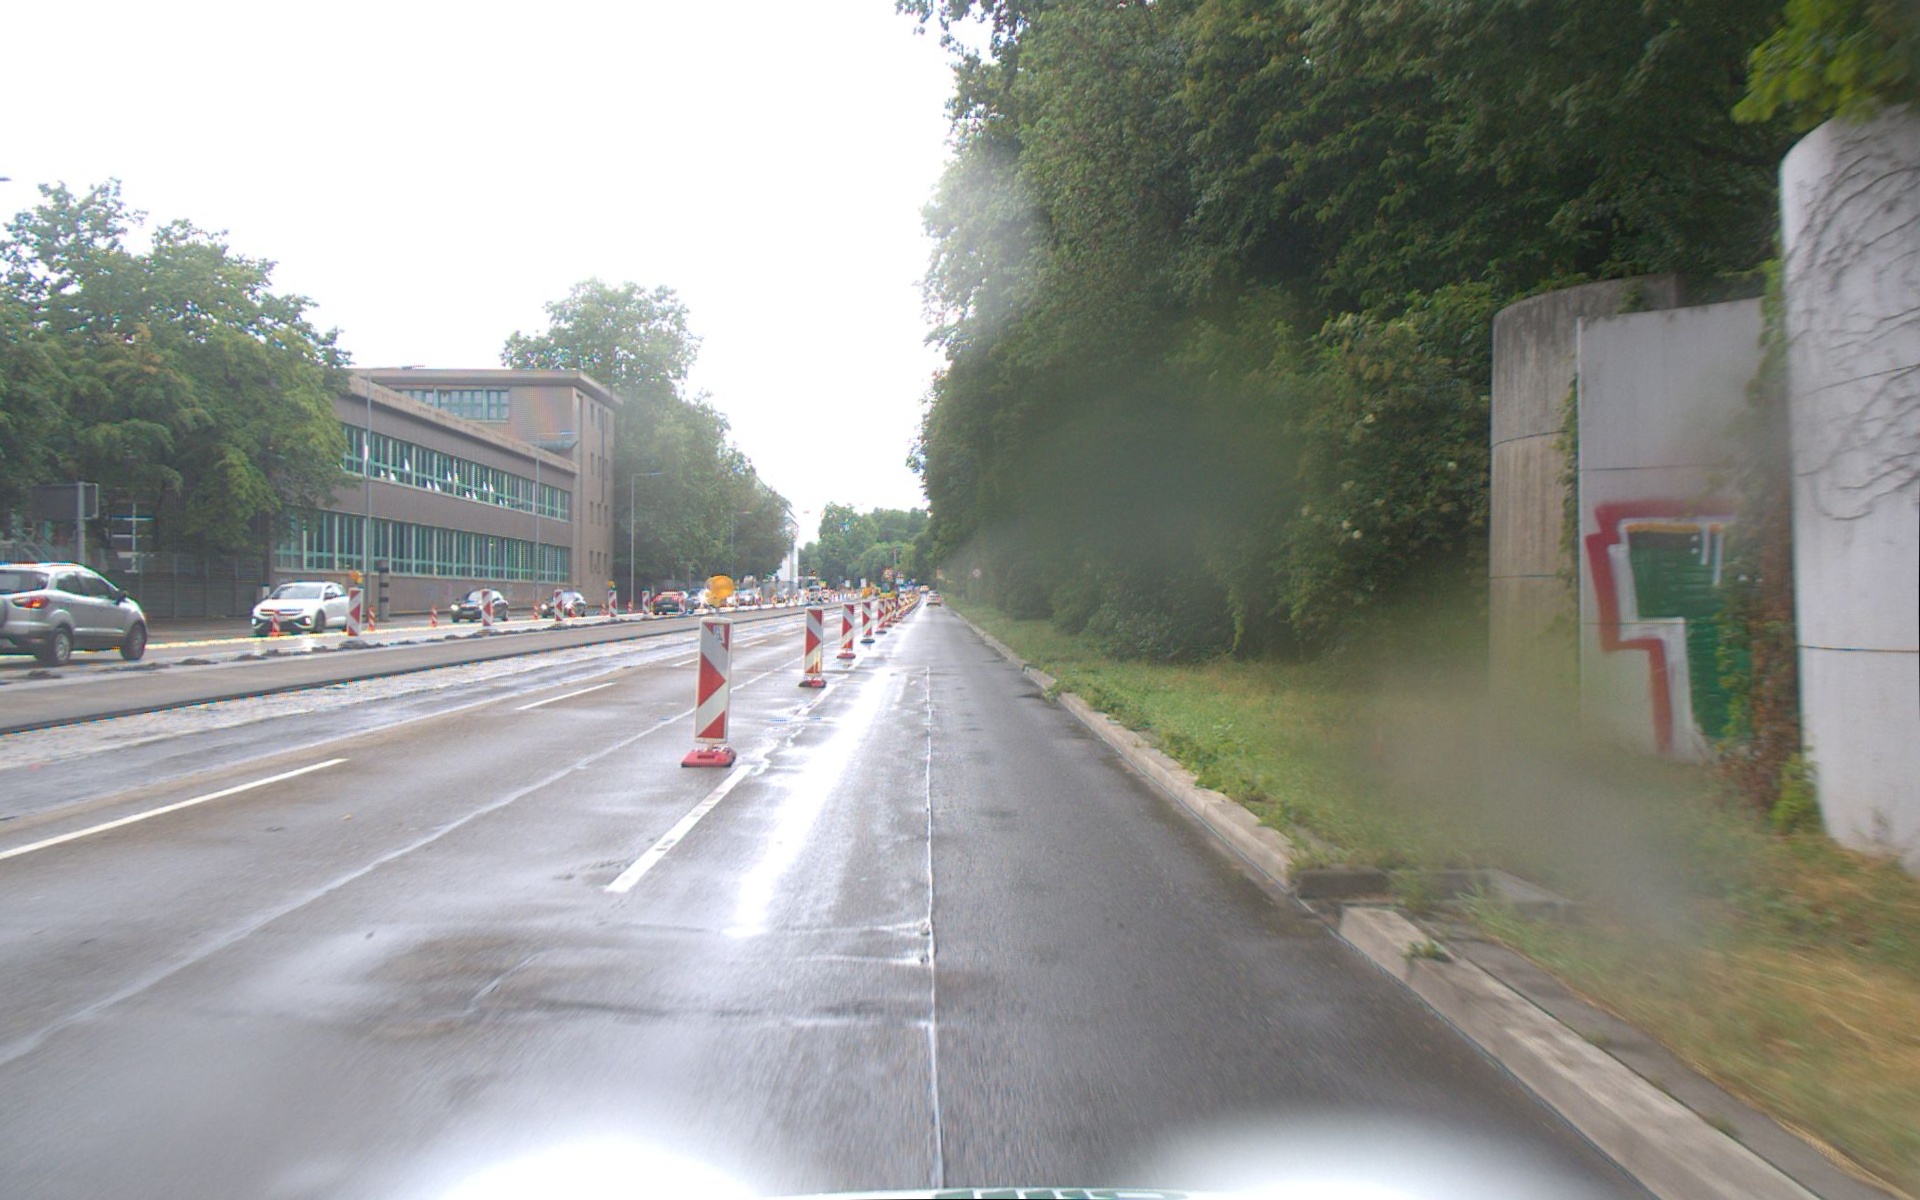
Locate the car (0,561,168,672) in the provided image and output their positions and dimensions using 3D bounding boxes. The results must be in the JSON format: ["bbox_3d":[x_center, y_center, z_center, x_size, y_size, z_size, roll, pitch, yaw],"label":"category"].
[{"bbox_3d":[-14.904,0.258,27.219,1.817,1.677,3.999,1,0,-1],"label":"car"}]

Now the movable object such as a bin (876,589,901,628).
[{"bbox_3d":[-6.336,0.753,147.596,1.953,3.426,5.981,1,-1,-1],"label":"movable object such as a bin"}]

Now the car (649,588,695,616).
[{"bbox_3d":[-16.307,0.135,93.799,1.953,1.545,3.999,1,0,-1],"label":"car"}]

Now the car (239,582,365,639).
[{"bbox_3d":[-18.828,0.287,47.557,1.953,1.539,4.265,1,0,-1],"label":"car"}]

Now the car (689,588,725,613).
[{"bbox_3d":[-19.668,0.056,128.754,1.948,1.799,4.674,1,0,0],"label":"car"}]

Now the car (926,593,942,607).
[{"bbox_3d":[-3.129,0.010,201.005,1.953,1.702,3.999,1,0,-1],"label":"car"}]

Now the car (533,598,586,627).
[{"bbox_3d":[-22.194,0.688,91.774,2.006,1.480,4.761,1,0,-4],"label":"car"}]

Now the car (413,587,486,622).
[{"bbox_3d":[-22.233,0.180,72.201,1.953,1.454,4.263,1,0,-2],"label":"car"}]
